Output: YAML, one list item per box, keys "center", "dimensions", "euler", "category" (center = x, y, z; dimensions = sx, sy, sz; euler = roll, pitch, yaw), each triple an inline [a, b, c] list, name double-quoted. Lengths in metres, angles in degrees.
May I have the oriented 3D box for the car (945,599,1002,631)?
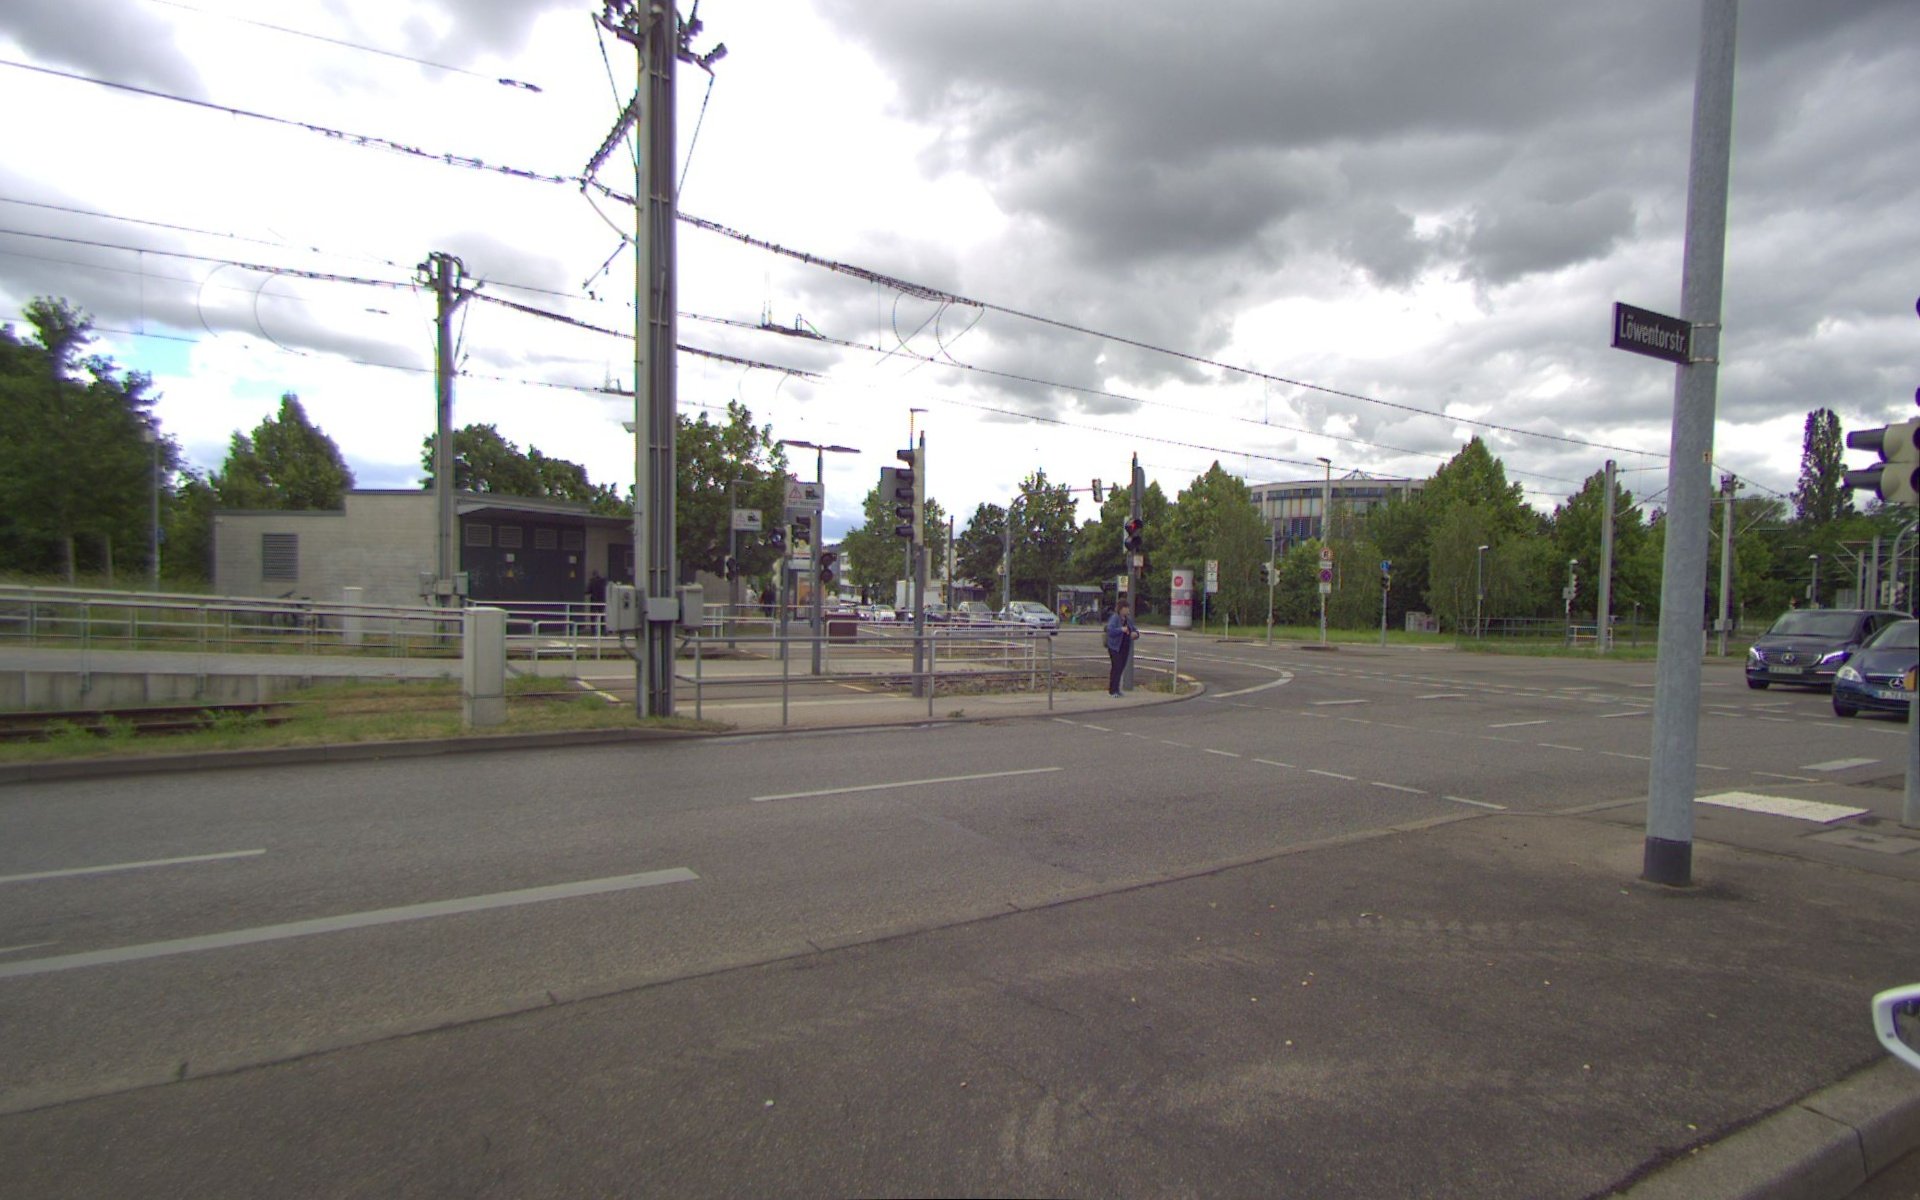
- center: [0.666, 0.791, 53.867]
  dimensions: [1.776, 1.617, 3.982]
  euler: [2, 0, -20]
  category: "car"

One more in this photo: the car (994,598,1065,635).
- center: [3.197, 0.731, 46.900]
  dimensions: [1.848, 1.617, 3.982]
  euler: [2, 0, -20]
  category: "car"

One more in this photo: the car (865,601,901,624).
- center: [-5.767, 0.922, 74.900]
  dimensions: [1.775, 1.617, 3.985]
  euler: [2, 0, -17]
  category: "car"

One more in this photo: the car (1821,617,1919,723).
- center: [15.550, 1.100, 15.971]
  dimensions: [3.617, 1.528, 1.727]
  euler: [2, 0, -30]
  category: "car"

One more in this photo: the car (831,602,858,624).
- center: [-10.214, 1.119, 88.436]
  dimensions: [1.869, 1.805, 3.988]
  euler: [1, 0, -14]
  category: "car"

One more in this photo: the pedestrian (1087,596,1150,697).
- center: [2.533, 0.729, 16.059]
  dimensions: [0.712, 1.557, 0.630]
  euler: [2, 0, -33]
  category: "pedestrian"

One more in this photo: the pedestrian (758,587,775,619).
- center: [-8.538, 0.150, 44.322]
  dimensions: [0.591, 1.377, 0.616]
  euler: [2, 0, -1]
  category: "pedestrian"

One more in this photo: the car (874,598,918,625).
- center: [-4.151, 0.695, 64.577]
  dimensions: [1.776, 1.617, 3.982]
  euler: [2, 0, -20]
  category: "car"

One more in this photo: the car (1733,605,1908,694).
- center: [19.847, 1.094, 23.091]
  dimensions: [5.041, 1.836, 1.875]
  euler: [1, -1, -35]
  category: "car"

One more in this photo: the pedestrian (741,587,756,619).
- center: [-10.445, 0.130, 49.610]
  dimensions: [0.633, 1.557, 0.521]
  euler: [2, 0, -2]
  category: "pedestrian"

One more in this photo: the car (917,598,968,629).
- center: [-1.065, 0.758, 58.040]
  dimensions: [1.776, 1.617, 3.982]
  euler: [2, 0, -20]
  category: "car"

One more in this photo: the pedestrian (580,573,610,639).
- center: [-9.858, 0.159, 27.145]
  dimensions: [0.700, 1.751, 0.674]
  euler: [2, 0, -19]
  category: "pedestrian"

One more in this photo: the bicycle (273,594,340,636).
- center: [-17.372, 0.390, 26.690]
  dimensions: [1.778, 1.045, 0.536]
  euler: [2, 0, 21]
  category: "bicycle"

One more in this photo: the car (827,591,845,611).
- center: [-14.617, 0.099, 118.108]
  dimensions: [1.964, 2.218, 5.800]
  euler: [1, 0, -9]
  category: "car"

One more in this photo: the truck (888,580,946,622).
- center: [-4.001, 0.055, 90.403]
  dimensions: [2.967, 3.580, 9.250]
  euler: [1, 0, -17]
  category: "truck"

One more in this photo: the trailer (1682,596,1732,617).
- center: [115.528, 1.032, 155.492]
  dimensions: [2.704, 3.052, 6.081]
  euler: [2, 0, -6]
  category: "trailer"
